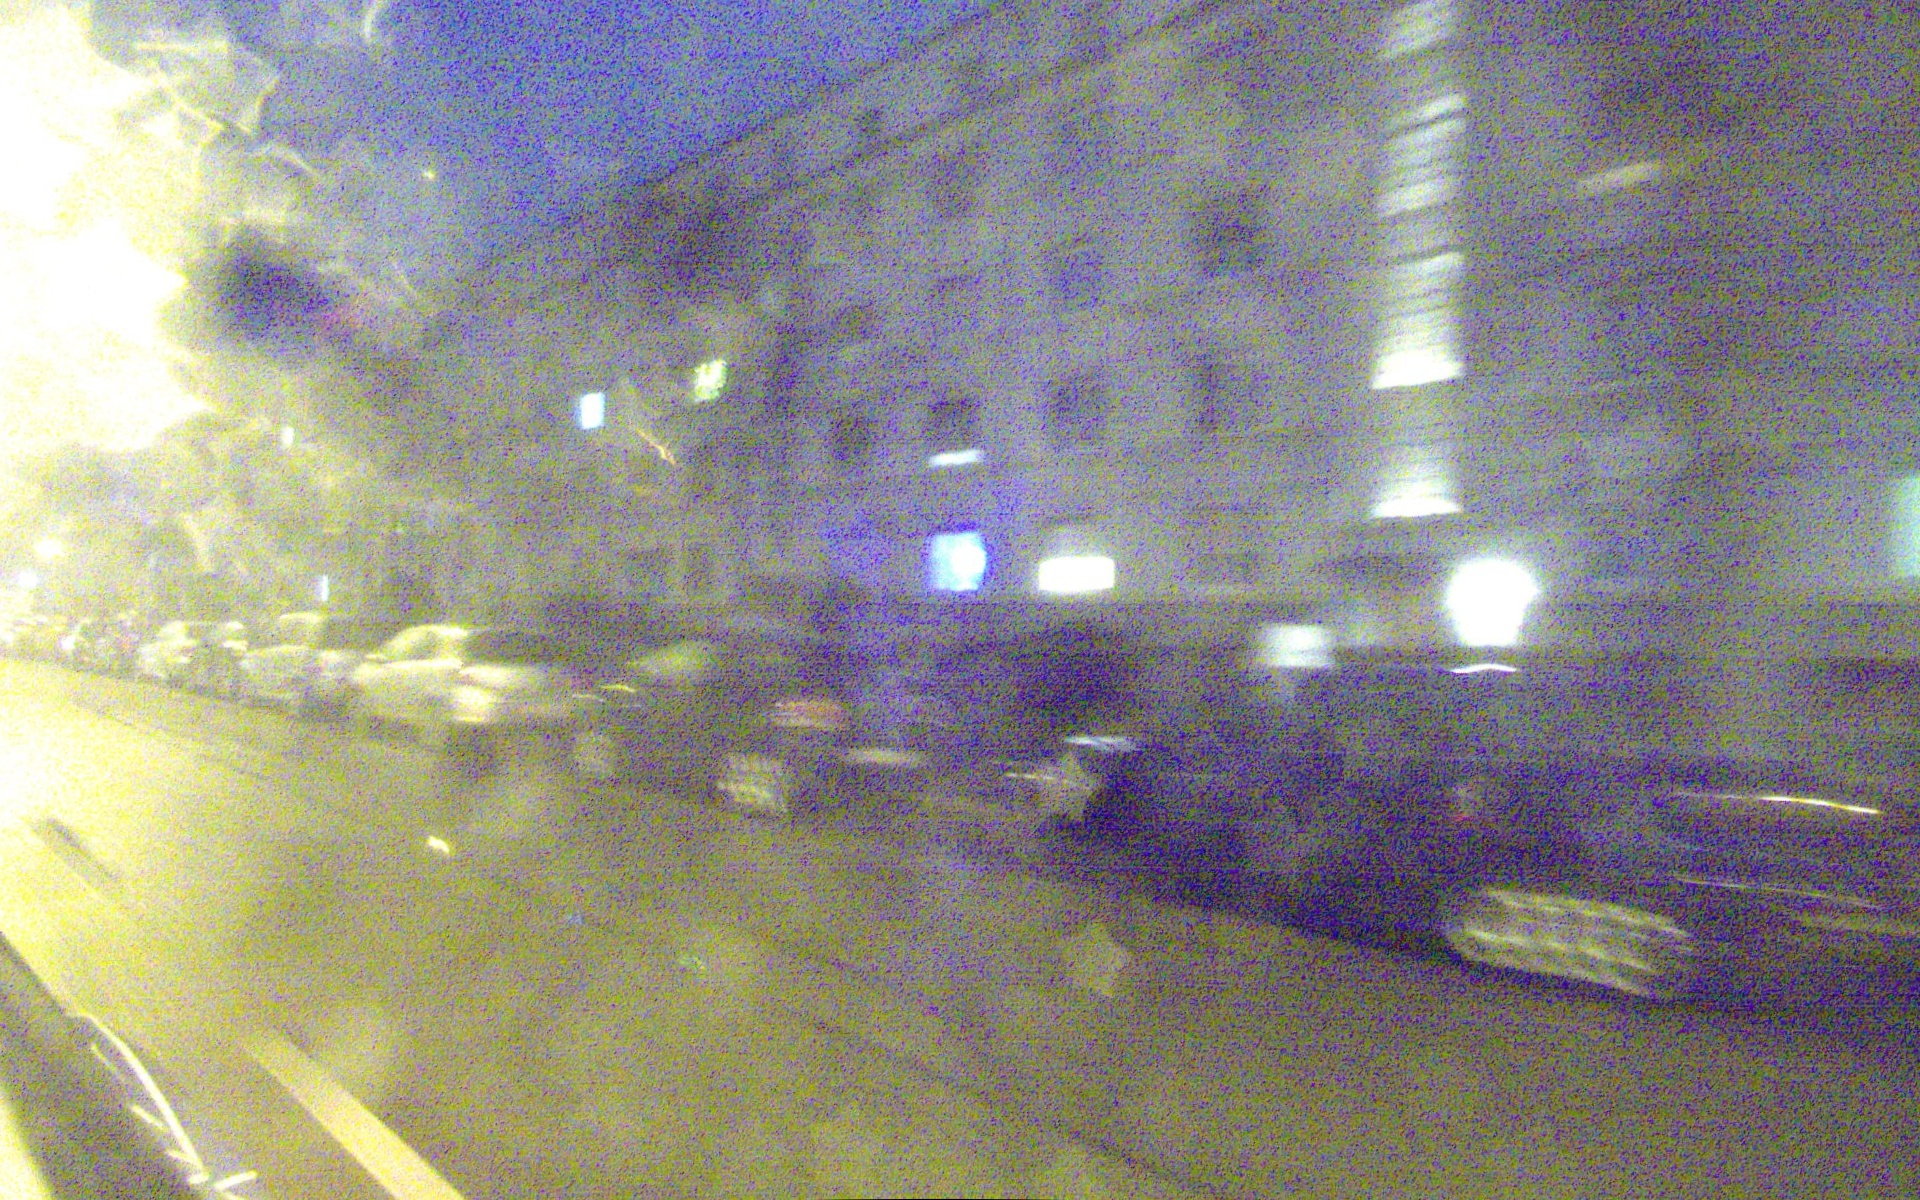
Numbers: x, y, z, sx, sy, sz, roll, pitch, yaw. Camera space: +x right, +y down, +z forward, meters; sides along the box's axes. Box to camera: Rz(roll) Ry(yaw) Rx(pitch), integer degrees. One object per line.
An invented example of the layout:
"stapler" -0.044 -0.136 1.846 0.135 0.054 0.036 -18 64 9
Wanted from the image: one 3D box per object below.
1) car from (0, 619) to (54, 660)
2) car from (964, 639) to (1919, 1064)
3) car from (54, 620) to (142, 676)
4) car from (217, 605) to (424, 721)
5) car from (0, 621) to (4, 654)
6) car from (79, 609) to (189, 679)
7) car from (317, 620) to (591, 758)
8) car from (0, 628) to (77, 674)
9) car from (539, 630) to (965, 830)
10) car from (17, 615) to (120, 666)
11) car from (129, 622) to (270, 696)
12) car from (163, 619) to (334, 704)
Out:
"car" -39.010 1.620 41.918 4.389 1.551 1.648 -1 -6 42
"car" 2.193 0.969 5.454 4.352 1.384 1.581 -1 -6 42
"car" -24.853 1.374 29.147 3.374 1.471 1.416 -1 -6 43
"car" -10.282 0.979 16.151 4.257 1.617 1.581 -1 -6 42
"car" -47.609 1.769 48.929 4.390 1.551 1.647 -1 -4 43
"car" -21.191 1.113 25.931 3.371 1.632 1.459 -1 -6 40
"car" -6.589 1.062 12.965 4.273 1.498 1.581 -1 -6 42
"car" -35.035 1.908 38.287 4.387 1.551 1.649 -1 -6 40
"car" -2.018 1.023 9.082 4.066 1.384 1.581 -1 -6 42
"car" -31.046 1.402 35.203 4.383 1.610 1.730 -1 -5 37
"car" -17.166 1.286 22.752 4.934 1.468 1.619 -1 -6 43
"car" -13.632 1.146 19.310 4.001 1.442 1.582 -1 -6 40
